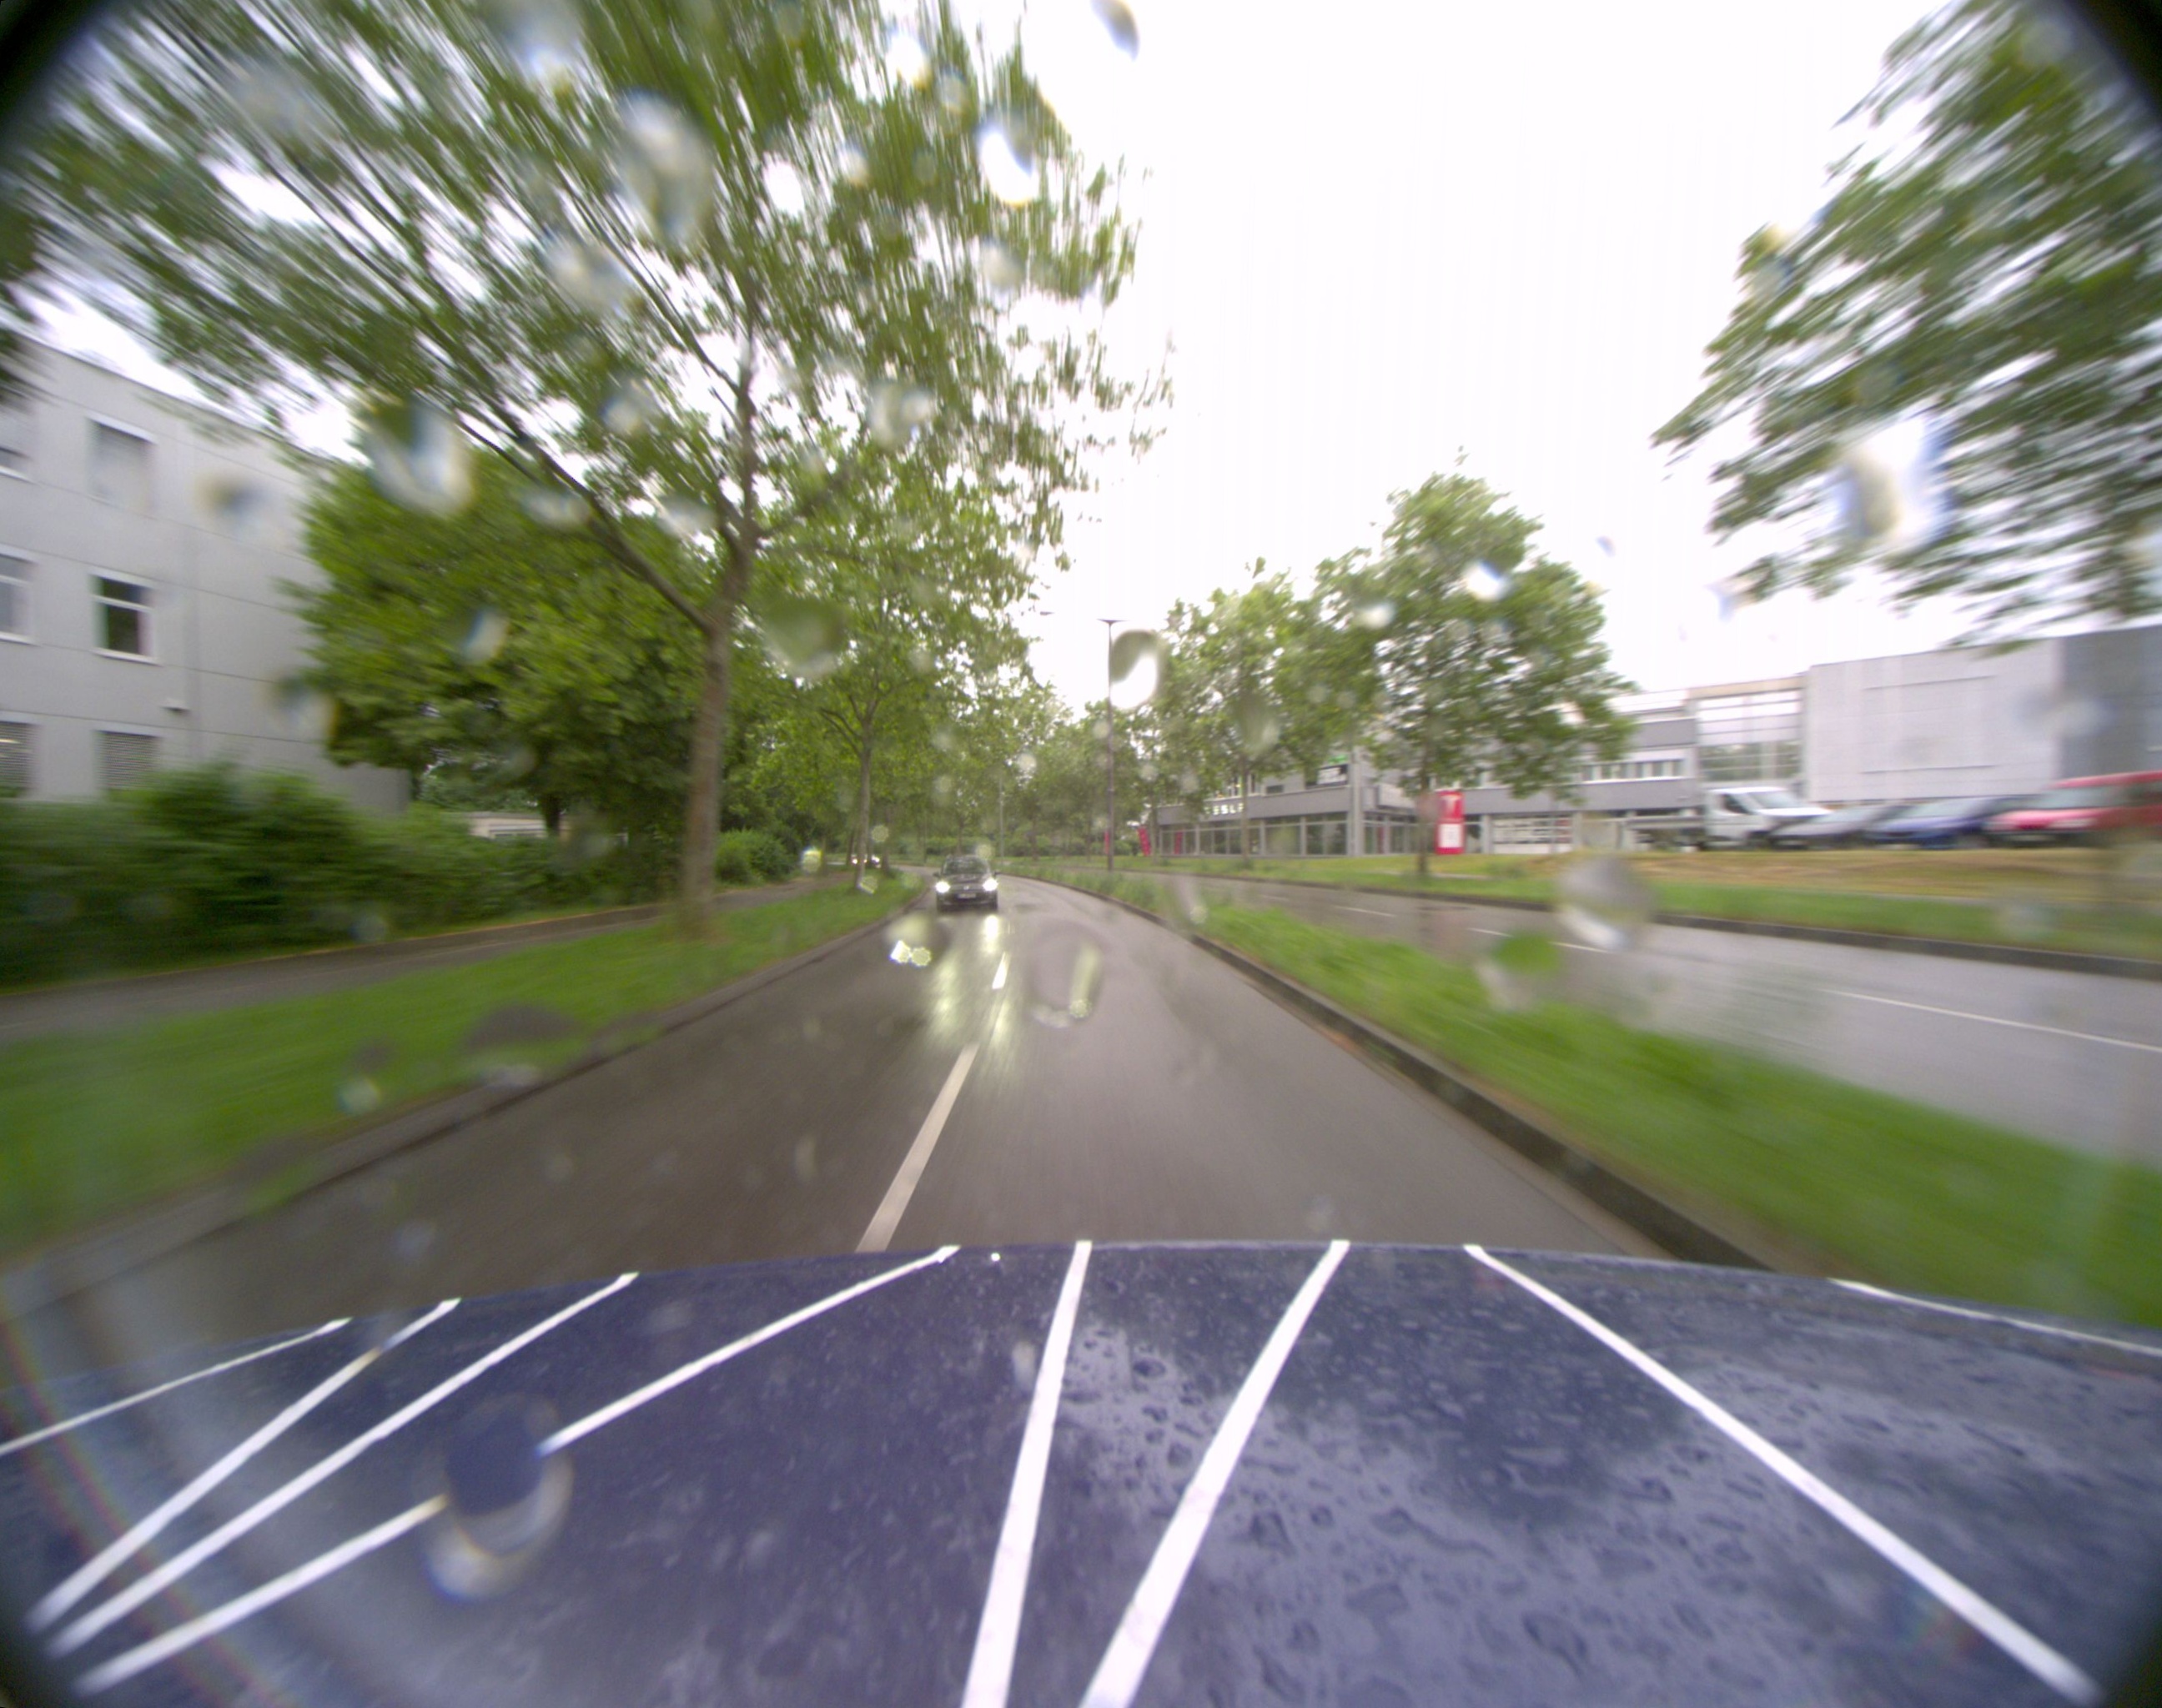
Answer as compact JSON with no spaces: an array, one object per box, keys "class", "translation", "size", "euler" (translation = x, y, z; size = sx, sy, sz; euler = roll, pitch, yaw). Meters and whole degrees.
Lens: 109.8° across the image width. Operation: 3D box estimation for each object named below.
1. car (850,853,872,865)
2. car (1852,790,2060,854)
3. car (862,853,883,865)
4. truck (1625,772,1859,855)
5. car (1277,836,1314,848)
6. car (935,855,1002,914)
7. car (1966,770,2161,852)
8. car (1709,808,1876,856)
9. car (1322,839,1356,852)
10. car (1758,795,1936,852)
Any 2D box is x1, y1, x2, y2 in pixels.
[{"class":"car","translation":[-28.171,0.646,97.218],"size":[1.788,1.547,3.991],"euler":[-2,1,-29]},{"class":"car","translation":[22.370,-0.797,19.511],"size":[3.533,1.319,1.767],"euler":[-4,0,-7]},{"class":"car","translation":[-28.199,0.667,102.718],"size":[1.788,1.547,3.991],"euler":[-2,1,-28]},{"class":"truck","translation":[22.596,-1.260,26.492],"size":[2.253,2.331,6.192],"euler":[-4,0,-6]},{"class":"car","translation":[33.532,-1.899,118.795],"size":[5.216,1.853,1.797],"euler":[0,2,42]},{"class":"car","translation":[-3.427,0.868,23.776],"size":[1.785,1.547,3.997],"euler":[-3,1,-5]},{"class":"car","translation":[22.758,-0.981,17.016],"size":[4.008,1.548,1.846],"euler":[-4,0,-7]},{"class":"car","translation":[25.898,-0.751,27.856],"size":[1.769,1.458,4.153],"euler":[-3,-1,-13]},{"class":"car","translation":[36.020,-1.203,106.299],"size":[4.199,1.803,1.819],"euler":[-1,1,7]},{"class":"car","translation":[22.089,-0.860,21.988],"size":[3.533,1.319,1.767],"euler":[-4,0,-7]}]
